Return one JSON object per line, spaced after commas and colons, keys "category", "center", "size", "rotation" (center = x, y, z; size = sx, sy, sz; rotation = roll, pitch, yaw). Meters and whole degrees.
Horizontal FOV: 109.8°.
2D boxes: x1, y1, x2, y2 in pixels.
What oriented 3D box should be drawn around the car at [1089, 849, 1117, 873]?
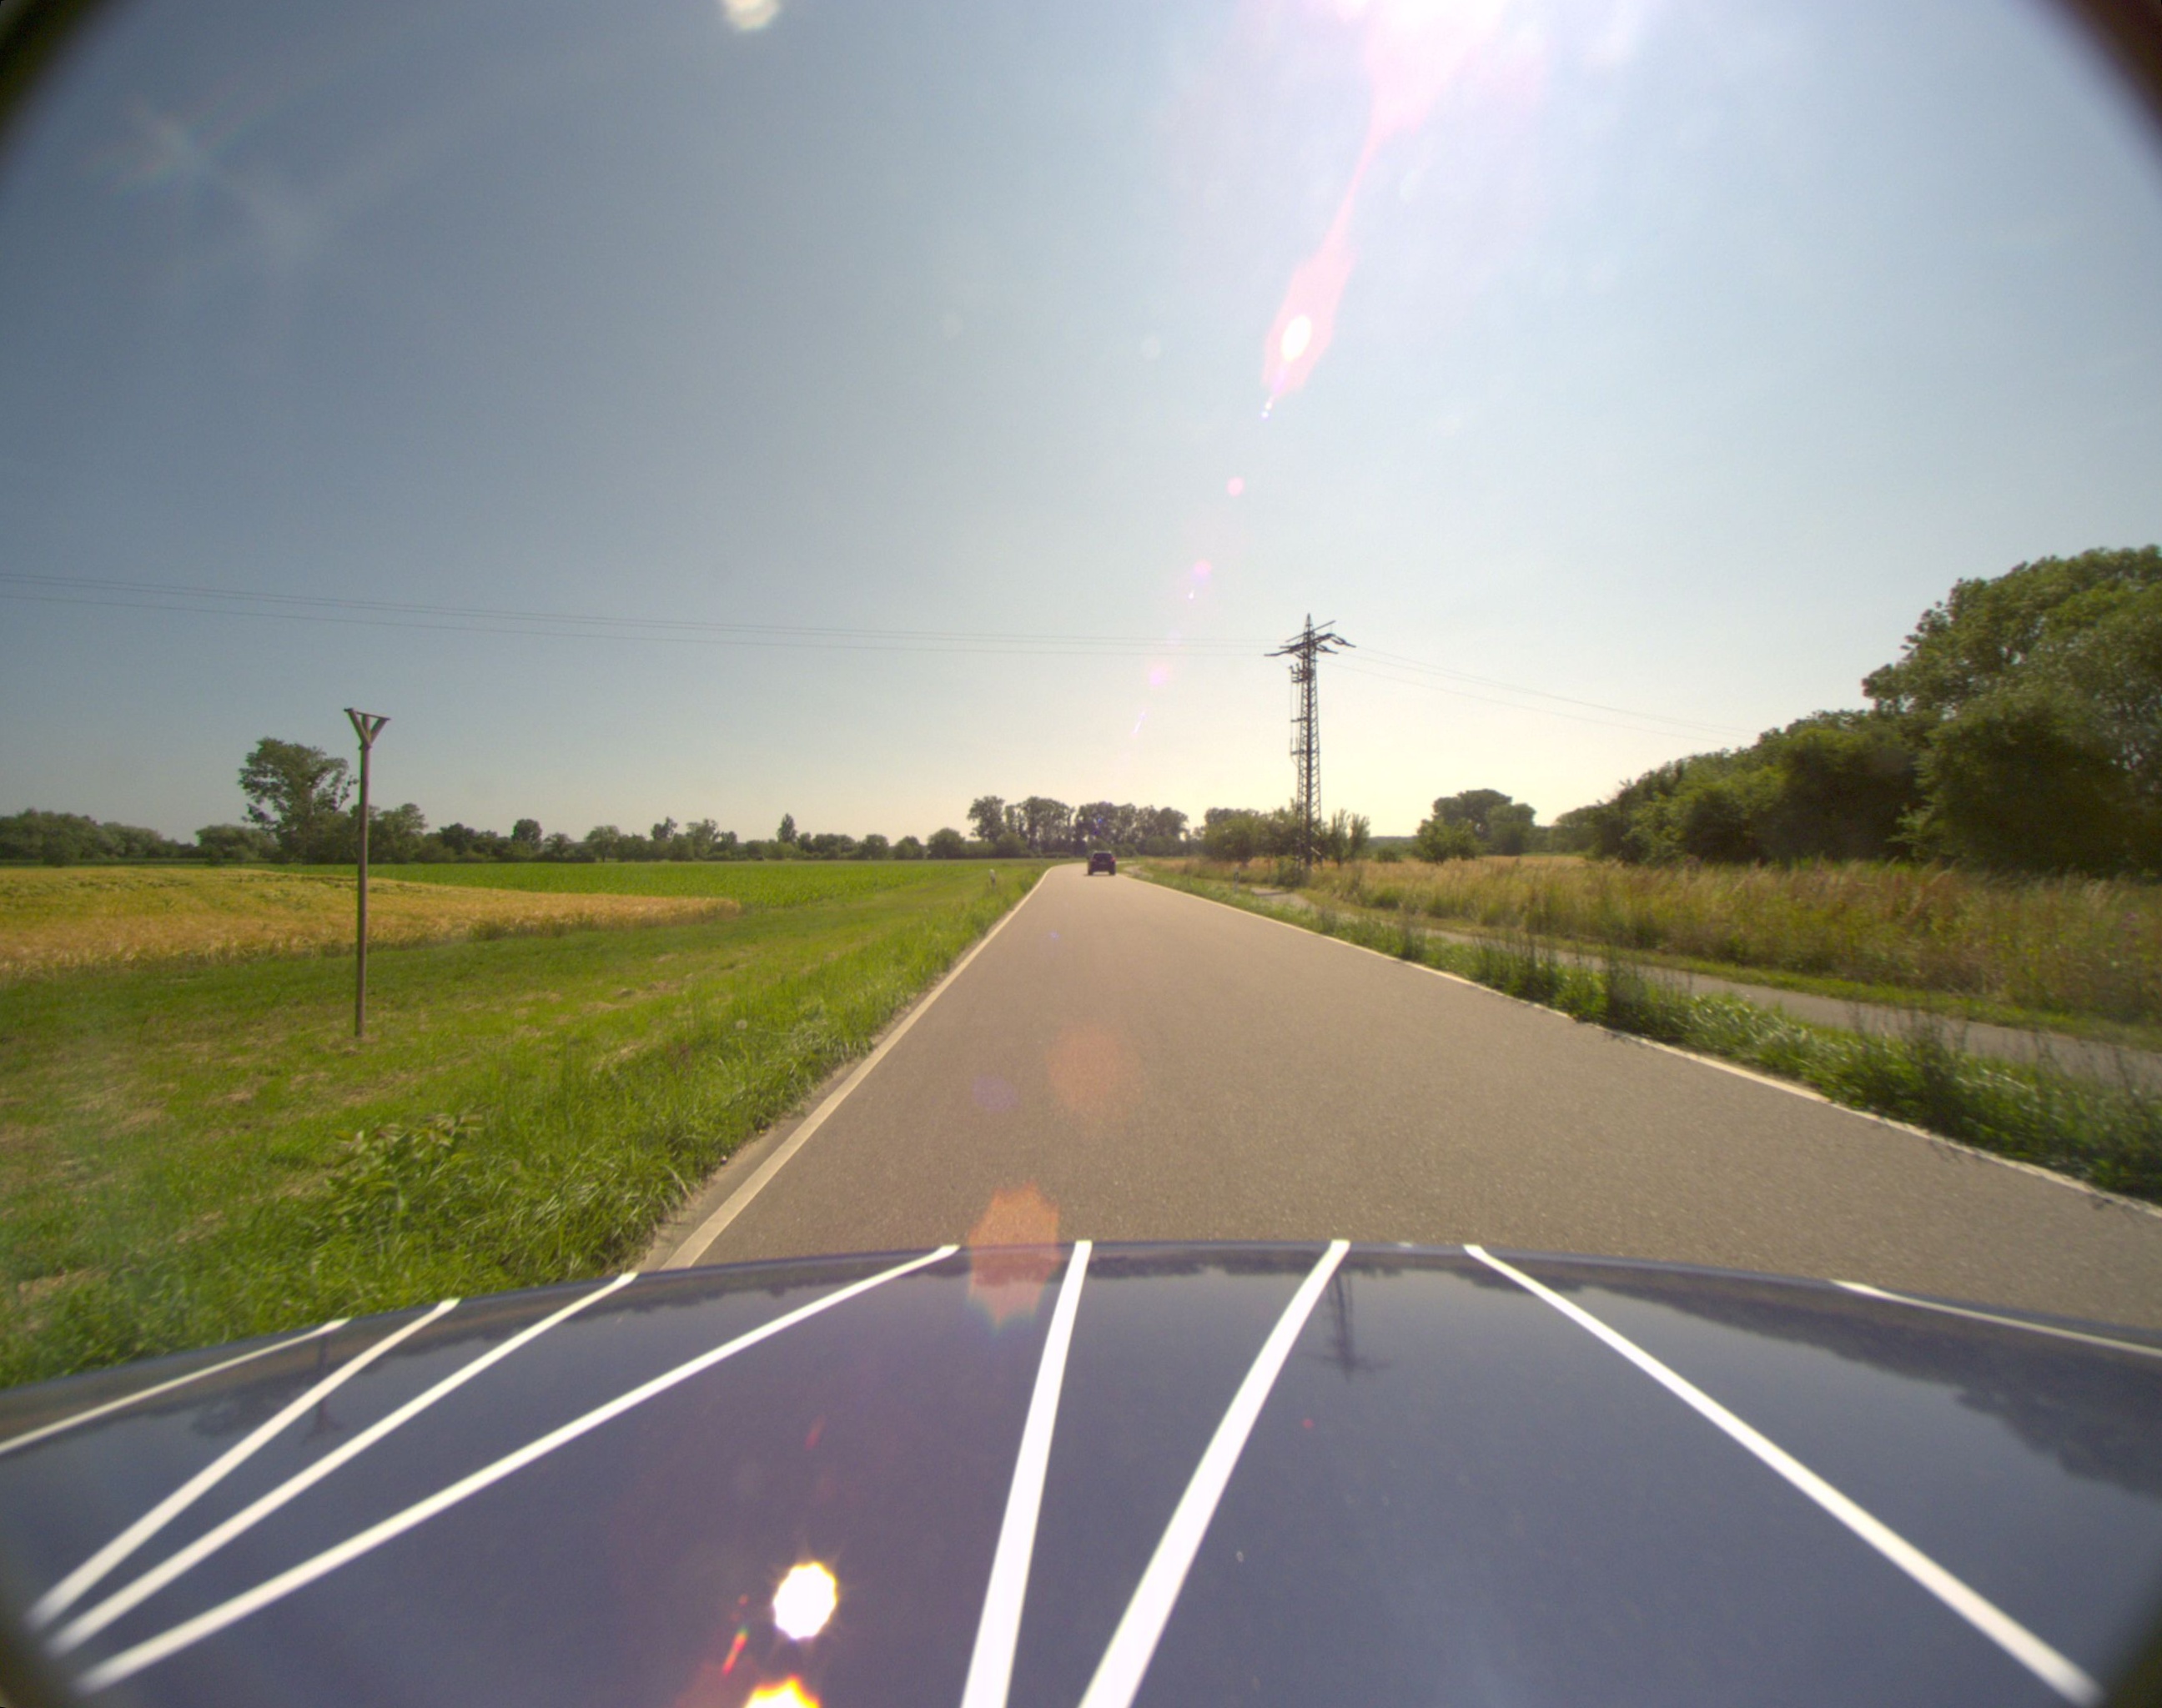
{"category": "car", "center": [1.582, 0.471, 56.845], "size": [1.870, 1.742, 4.295], "rotation": [1, 0, -2]}
